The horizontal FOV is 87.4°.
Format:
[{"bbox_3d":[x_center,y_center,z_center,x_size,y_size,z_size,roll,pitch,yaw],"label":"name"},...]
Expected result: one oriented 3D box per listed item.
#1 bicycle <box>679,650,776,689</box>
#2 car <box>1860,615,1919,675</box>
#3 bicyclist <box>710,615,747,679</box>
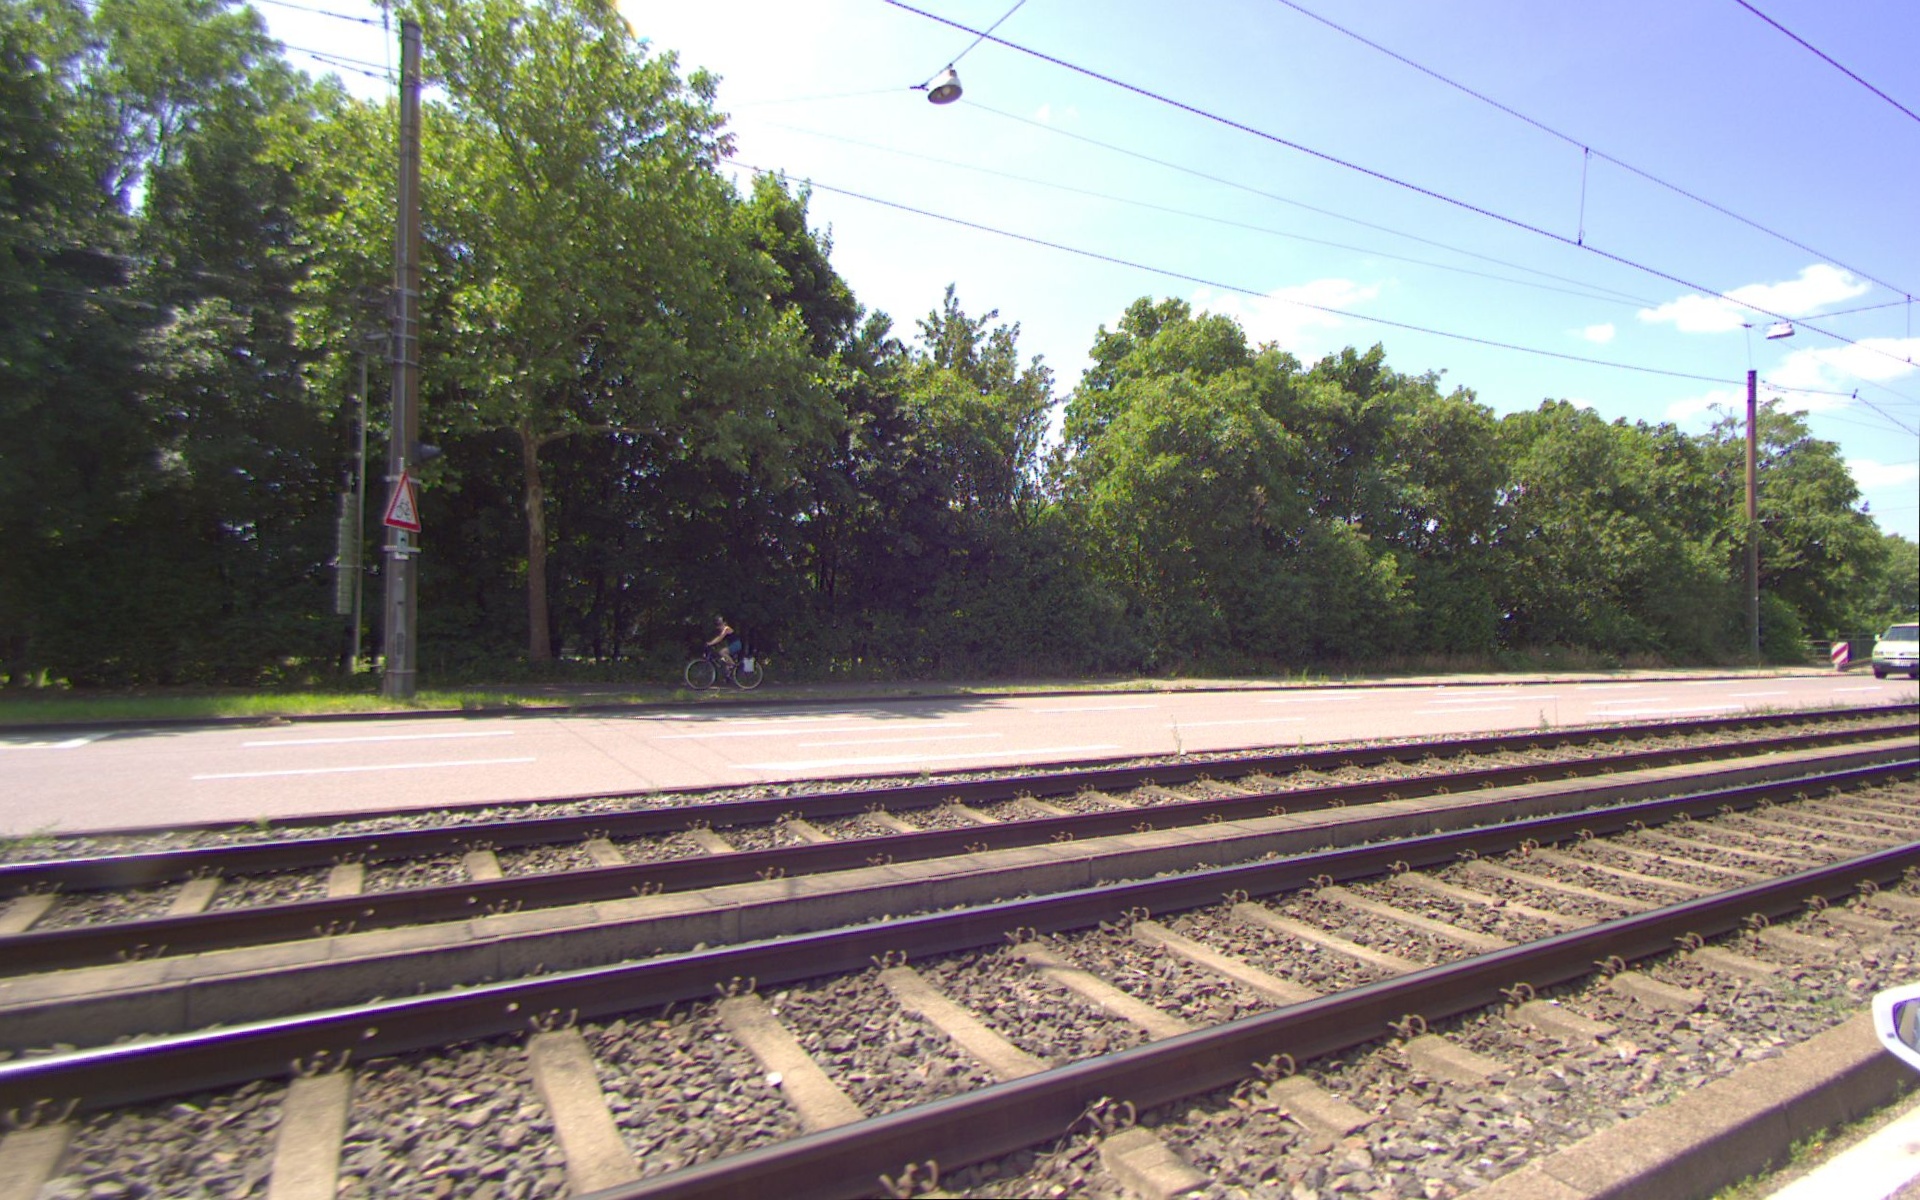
[{"bbox_3d":[-5.208,1.539,22.539,2.042,0.829,0.584,2,-2,-28],"label":"bicycle"},{"bbox_3d":[33.159,1.557,34.519,5.117,1.950,1.803,2,-2,-30],"label":"car"},{"bbox_3d":[-5.195,1.055,22.530,0.623,1.386,0.566,2,0,-28],"label":"bicyclist"}]
